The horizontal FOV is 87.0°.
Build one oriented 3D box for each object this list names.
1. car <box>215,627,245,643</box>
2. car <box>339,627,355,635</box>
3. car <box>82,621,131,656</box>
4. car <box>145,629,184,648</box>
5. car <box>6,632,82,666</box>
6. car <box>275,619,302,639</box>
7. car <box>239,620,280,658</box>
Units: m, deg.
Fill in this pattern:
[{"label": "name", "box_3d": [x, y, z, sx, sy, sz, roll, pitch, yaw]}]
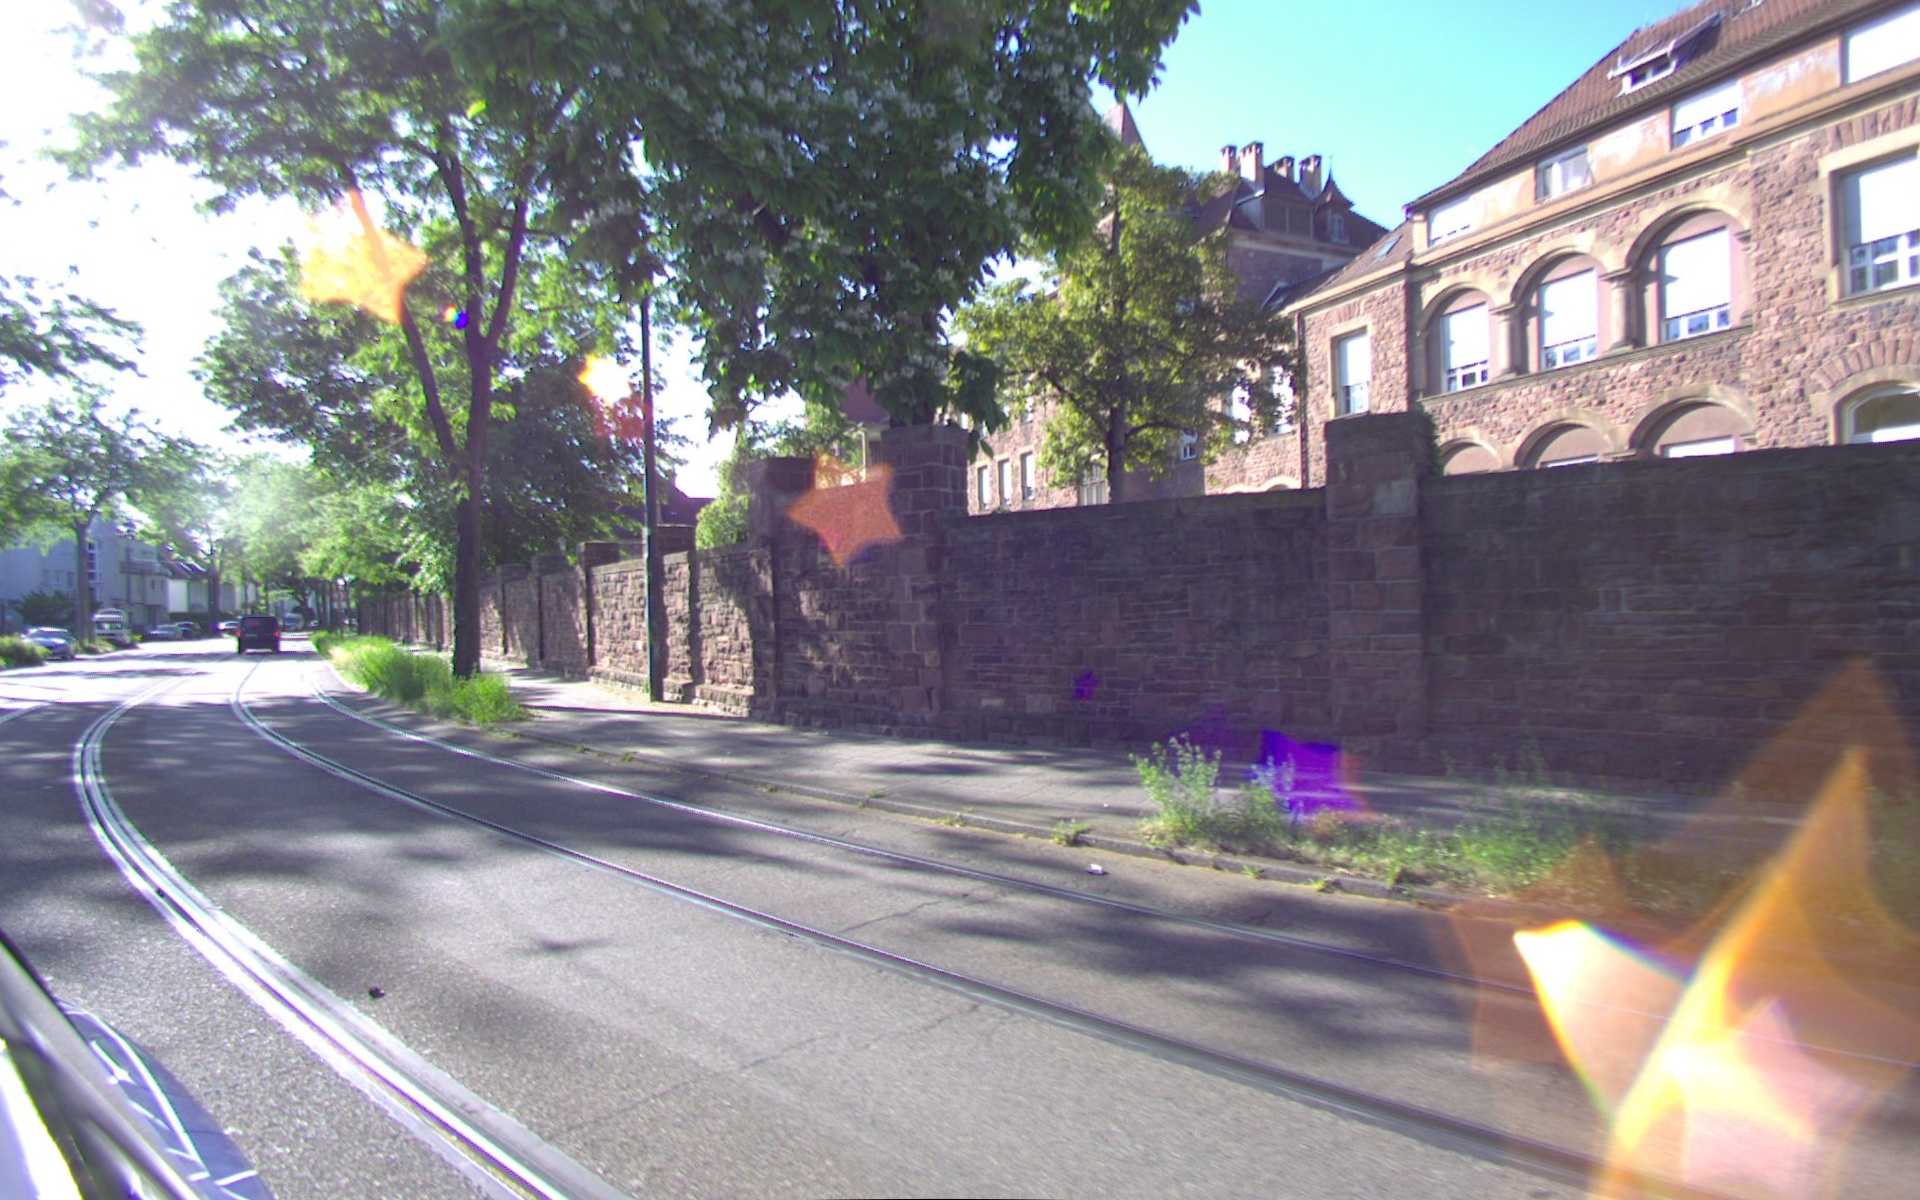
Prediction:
[{"label": "car", "box_3d": [-80.174, 3.829, 111.191, 1.849, 1.530, 4.664, -1, 0, -26]}, {"label": "car", "box_3d": [-115.719, 5.788, 191.094, 1.965, 1.494, 4.013, -1, -1, -24]}, {"label": "car", "box_3d": [-54.050, 2.399, 64.185, 1.967, 2.111, 4.728, -1, -1, -35]}, {"label": "car", "box_3d": [-70.661, 3.420, 89.943, 1.713, 1.507, 4.545, -1, 0, -24]}, {"label": "car", "box_3d": [-44.044, 2.334, 48.768, 1.974, 1.476, 5.446, 3, -3, -35]}, {"label": "car", "box_3d": [-93.405, 4.052, 140.820, 2.259, 2.609, 5.737, -1, 0, -24]}, {"label": "car", "box_3d": [-35.260, 1.937, 50.932, 1.611, 1.806, 4.348, -1, -1, -36]}]
